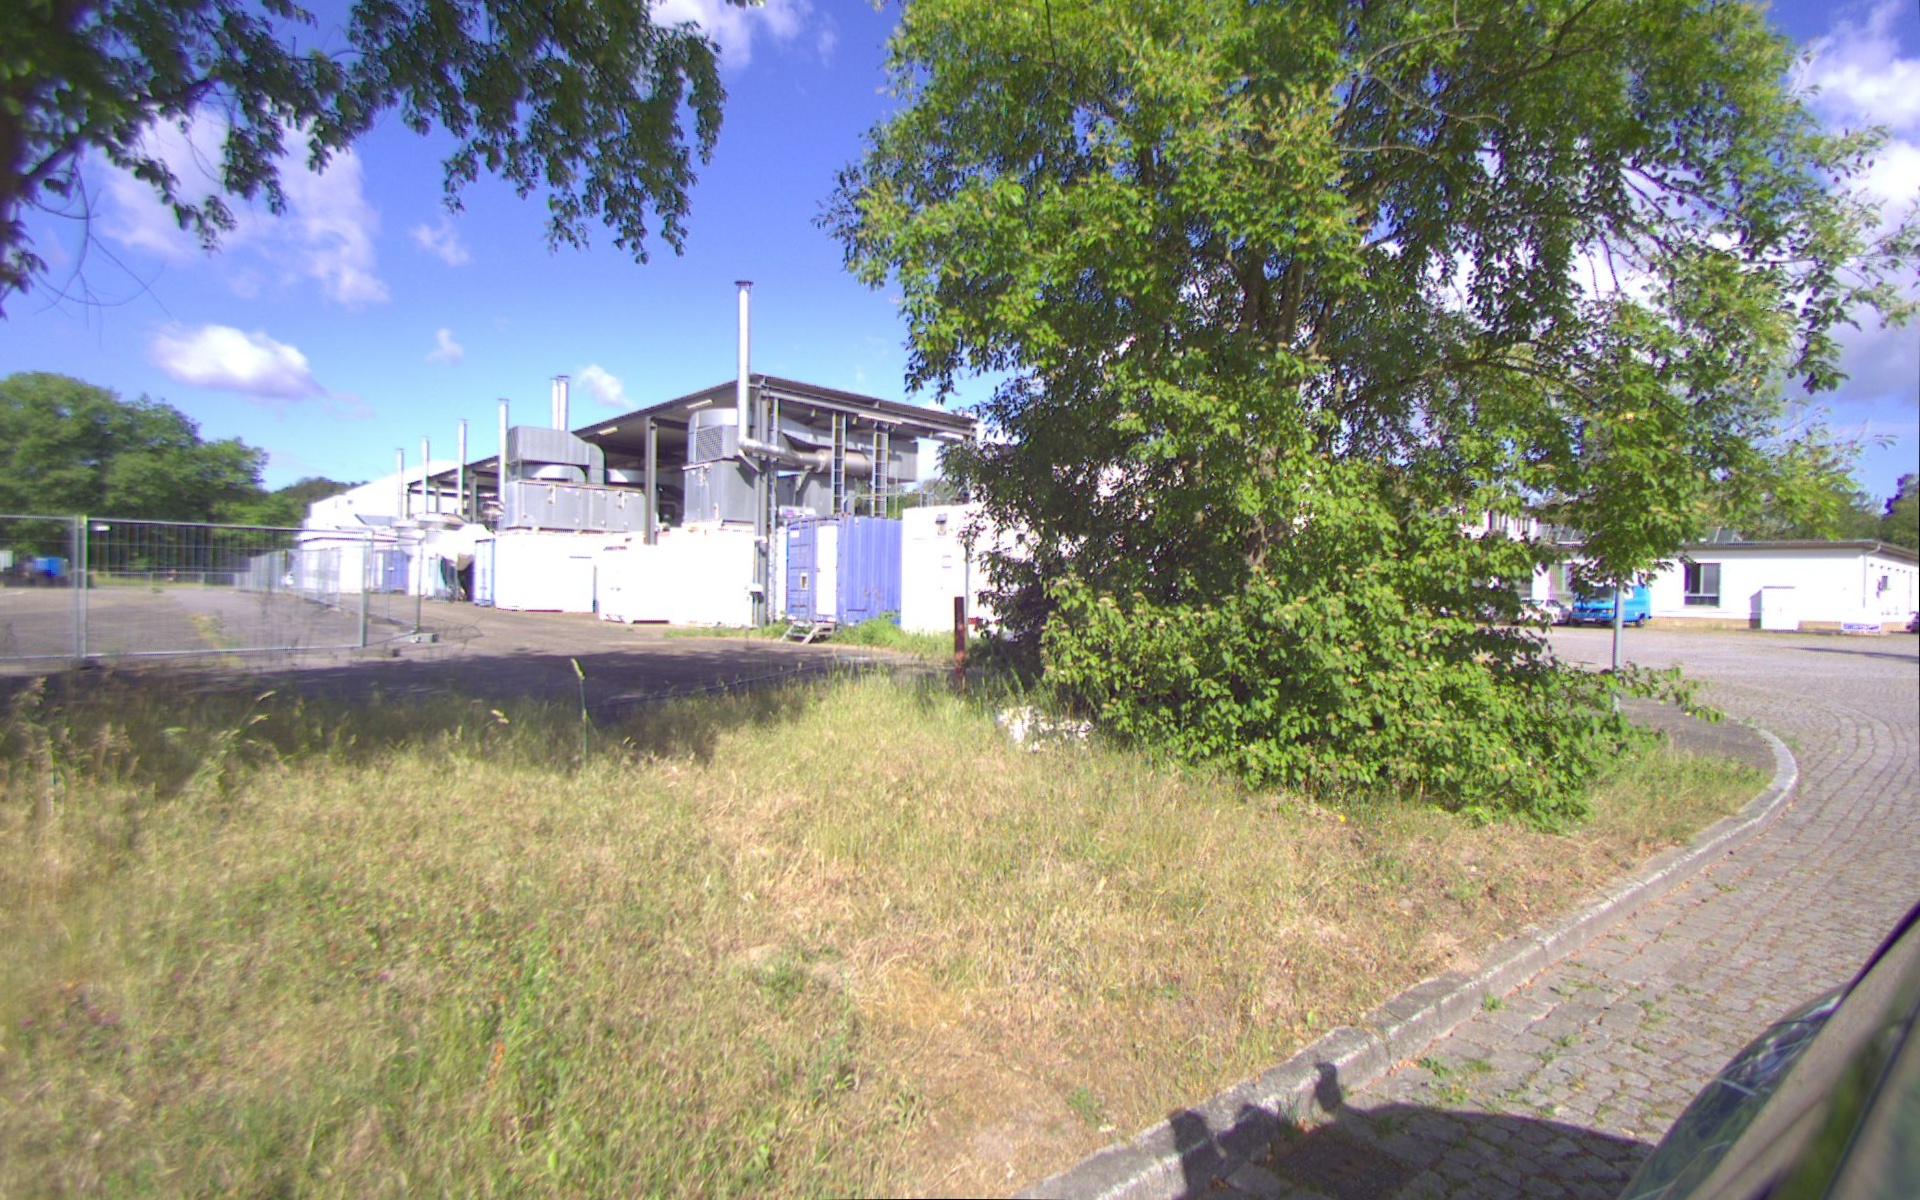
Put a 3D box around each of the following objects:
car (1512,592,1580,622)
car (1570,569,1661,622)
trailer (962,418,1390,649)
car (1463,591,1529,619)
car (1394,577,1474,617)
[{"bbox_3d":[29.614,0.333,51.136,3.670,1.423,1.737,-1,1,-38],"label":"car"},{"bbox_3d":[32.174,-0.219,49.630,5.142,2.514,2.089,0,1,-37],"label":"car"},{"bbox_3d":[5.107,-1.148,21.757,10.687,3.960,2.779,0,1,-38],"label":"trailer"},{"bbox_3d":[28.556,0.242,53.916,3.761,1.416,1.692,0,1,-38],"label":"car"},{"bbox_3d":[26.128,-0.185,55.752,4.716,2.107,2.009,-1,1,-37],"label":"car"}]
